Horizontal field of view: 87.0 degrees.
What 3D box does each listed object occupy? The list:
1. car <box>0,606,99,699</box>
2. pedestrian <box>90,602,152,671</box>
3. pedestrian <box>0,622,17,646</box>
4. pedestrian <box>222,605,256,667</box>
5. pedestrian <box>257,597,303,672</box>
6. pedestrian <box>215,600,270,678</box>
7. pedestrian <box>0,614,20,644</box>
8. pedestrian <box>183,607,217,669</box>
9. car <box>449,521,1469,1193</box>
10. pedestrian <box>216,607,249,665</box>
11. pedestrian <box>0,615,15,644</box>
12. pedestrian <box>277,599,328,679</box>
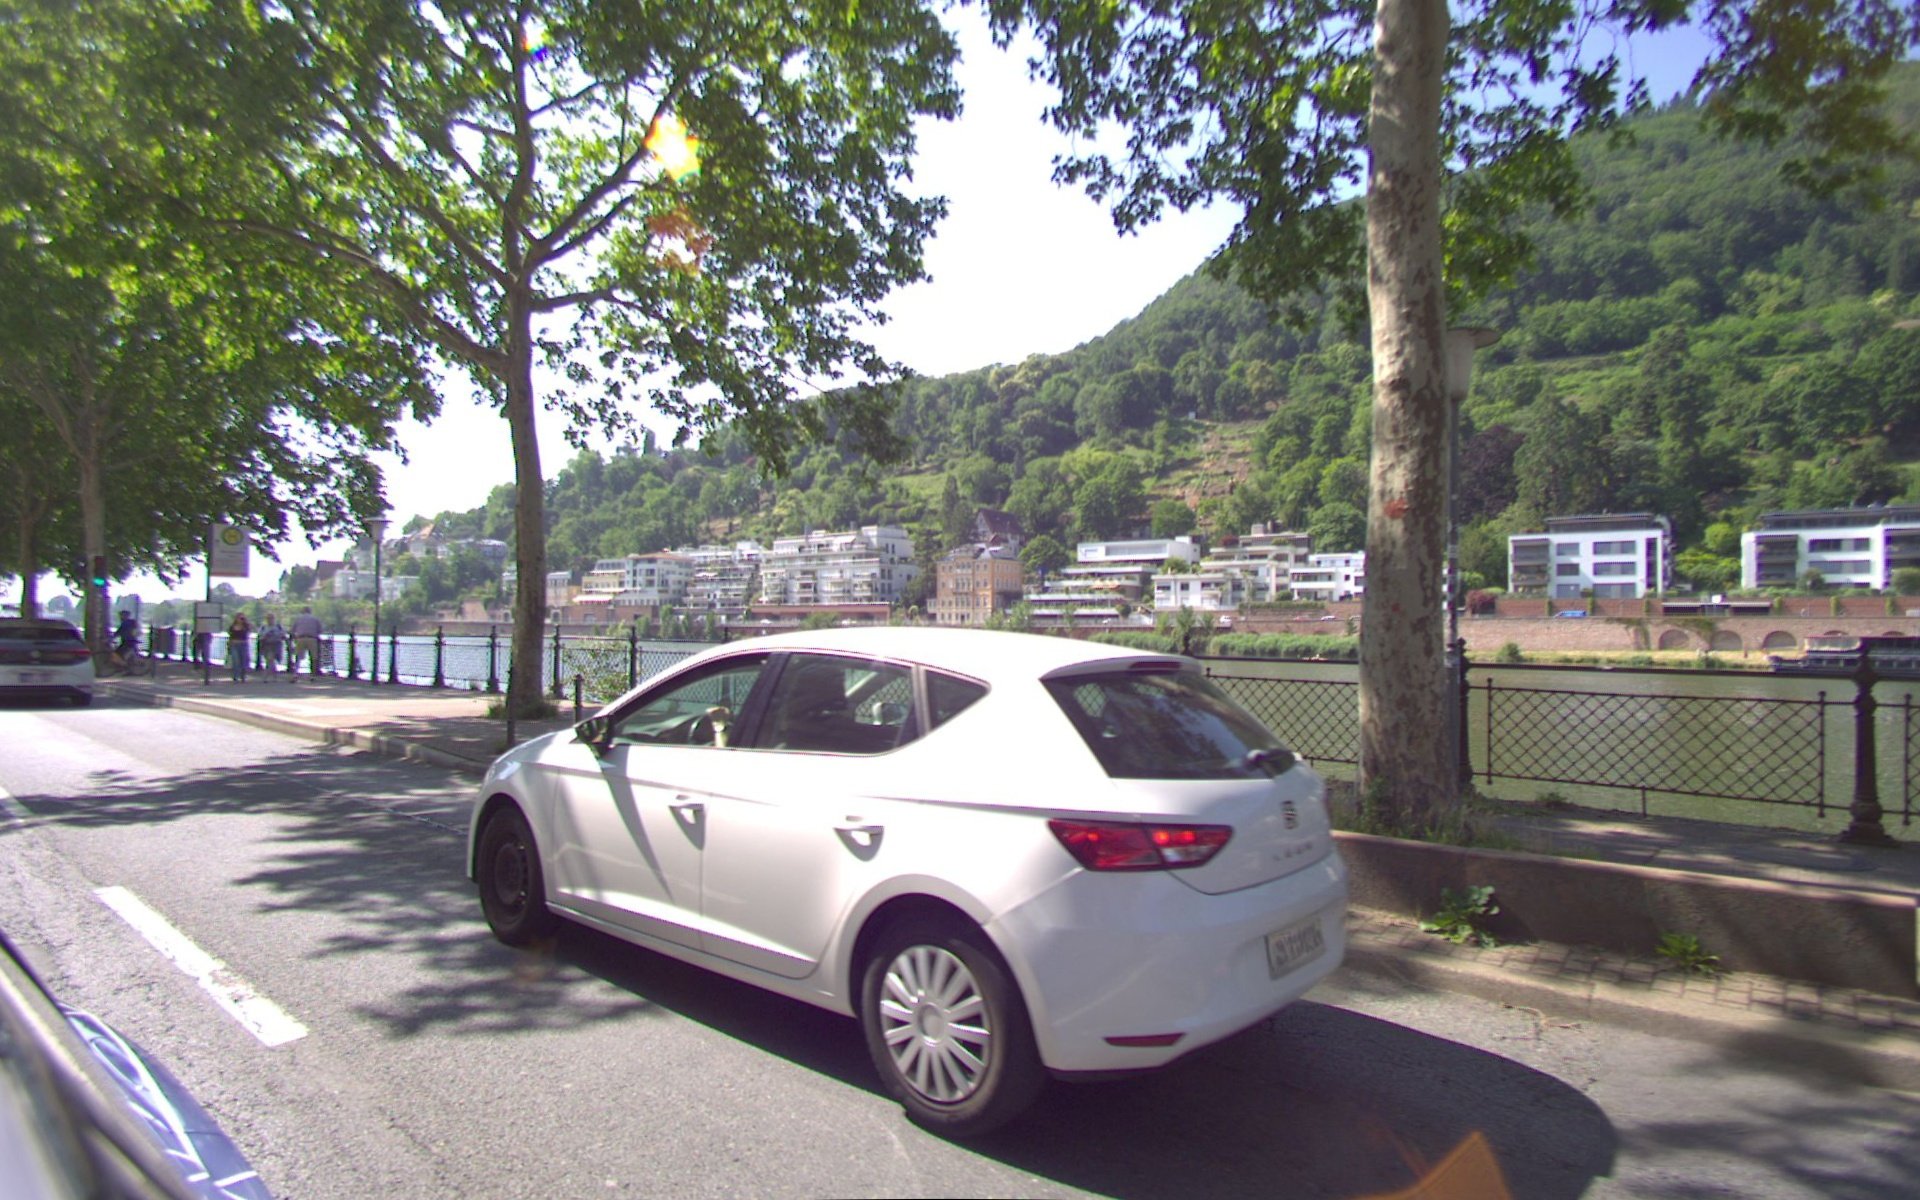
[{"bbox_3d":[-17.152,0.889,18.257,4.401,1.529,1.717,-1,-2,40],"label":"car"},{"bbox_3d":[-22.169,0.953,26.756,1.008,1.786,0.770,0,-1,-9],"label":"pedestrian"},{"bbox_3d":[-53.986,1.931,57.397,0.552,1.330,0.625,-1,-3,39],"label":"pedestrian"},{"bbox_3d":[-20.319,1.001,28.522,0.695,1.713,0.612,-1,-1,40],"label":"pedestrian"},{"bbox_3d":[-15.904,0.801,23.655,0.792,1.727,0.646,-1,-3,40],"label":"pedestrian"},{"bbox_3d":[-16.271,0.878,22.965,0.782,1.726,0.827,-1,-1,40],"label":"pedestrian"},{"bbox_3d":[-54.098,1.649,57.589,0.709,1.696,0.783,-1,-1,40],"label":"pedestrian"},{"bbox_3d":[-20.331,1.007,27.070,0.991,1.630,0.488,-1,-1,40],"label":"pedestrian"},{"bbox_3d":[-0.356,0.615,4.182,4.088,1.456,1.684,-2,-1,41],"label":"car"},{"bbox_3d":[-21.131,1.029,29.390,0.910,1.620,0.544,-1,1,40],"label":"pedestrian"},{"bbox_3d":[-53.981,1.675,57.264,0.552,1.640,0.626,-1,-1,39],"label":"pedestrian"},{"bbox_3d":[-15.151,0.882,23.311,0.971,1.777,0.704,-1,-1,40],"label":"pedestrian"}]
